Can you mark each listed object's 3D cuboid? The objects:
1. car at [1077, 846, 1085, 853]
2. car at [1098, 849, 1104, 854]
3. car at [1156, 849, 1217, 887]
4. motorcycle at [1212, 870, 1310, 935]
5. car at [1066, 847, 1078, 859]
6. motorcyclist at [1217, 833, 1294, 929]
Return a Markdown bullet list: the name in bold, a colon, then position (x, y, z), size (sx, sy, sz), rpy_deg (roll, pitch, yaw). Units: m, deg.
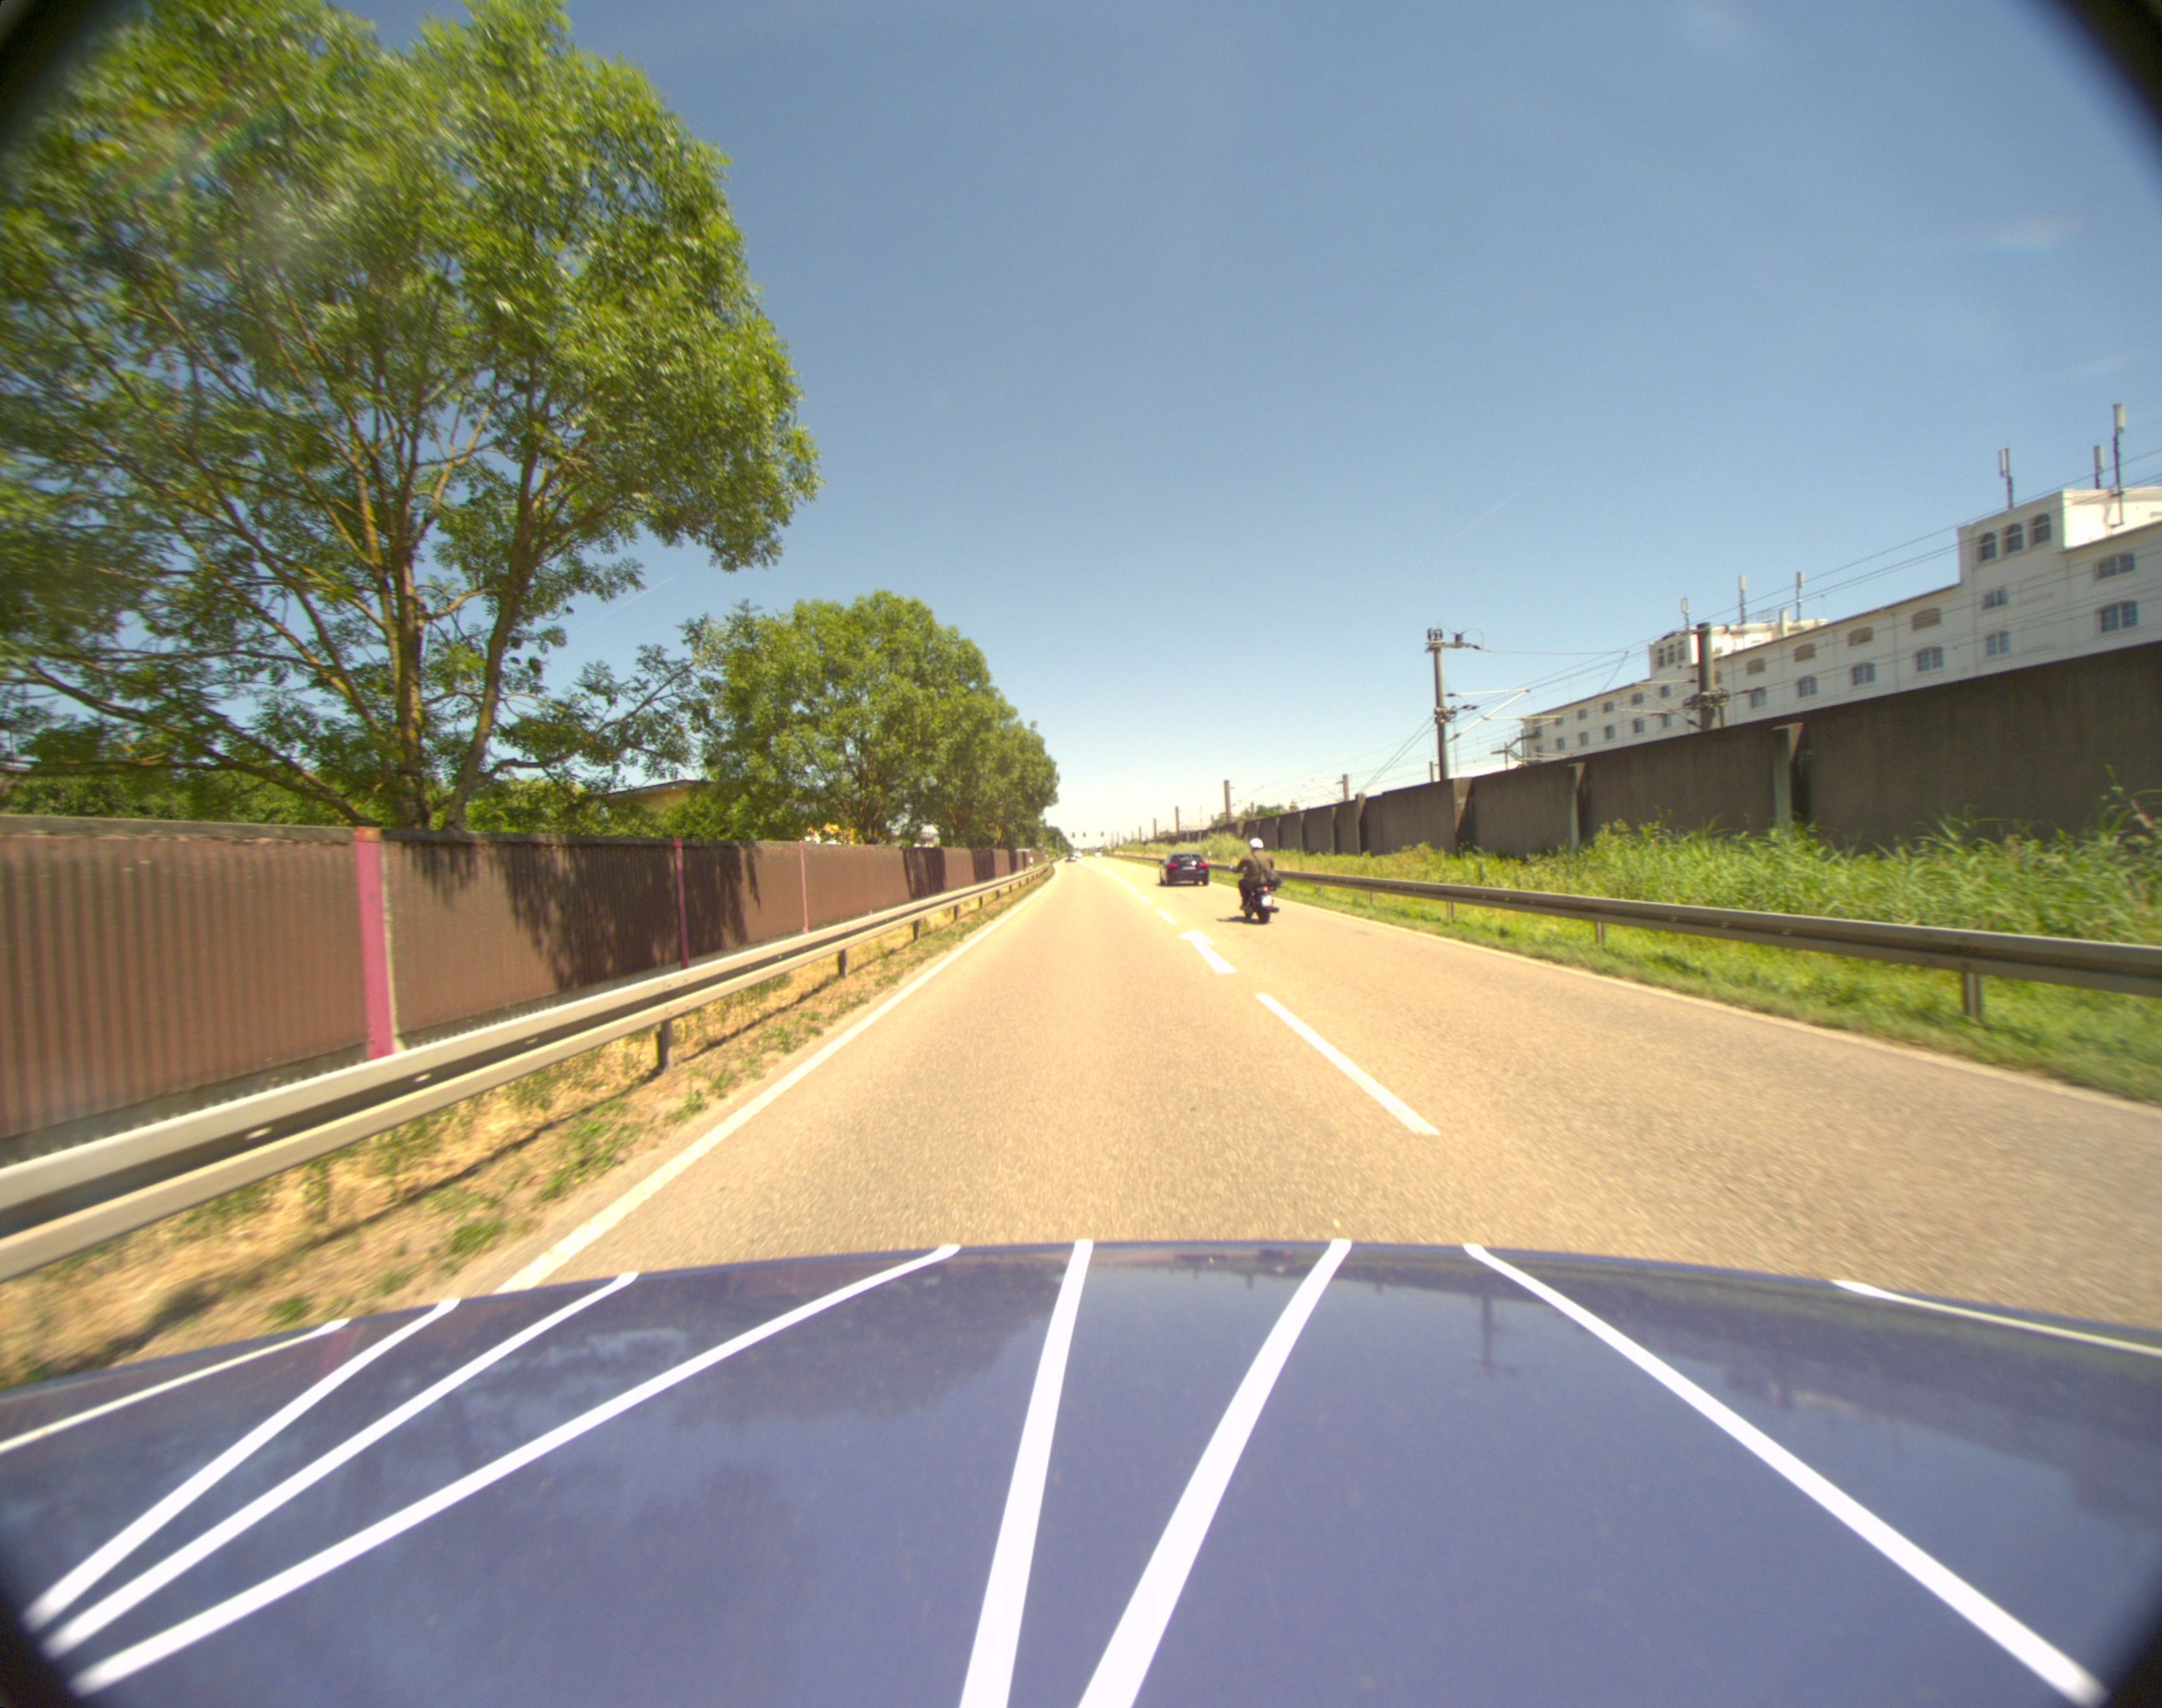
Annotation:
- **car**: position (0.025, -1.285, 210.047), size (1.999, 2.002, 3.999), rpy_deg (-2, 1, -1)
- **car**: position (6.152, -0.872, 229.521), size (1.600, 1.466, 3.773), rpy_deg (-2, 1, -1)
- **car**: position (4.548, 0.570, 33.299), size (1.999, 1.499, 3.999), rpy_deg (-2, 1, -1)
- **motorcycle**: position (3.576, 0.920, 15.500), size (1.240, 1.066, 3.129), rpy_deg (-2, 1, 0)
- **car**: position (-1.523, -0.192, 127.989), size (1.999, 2.002, 3.999), rpy_deg (-2, 1, -1)
- **motorcyclist**: position (3.553, 0.536, 15.588), size (1.257, 1.853, 1.245), rpy_deg (-2, 1, 0)
